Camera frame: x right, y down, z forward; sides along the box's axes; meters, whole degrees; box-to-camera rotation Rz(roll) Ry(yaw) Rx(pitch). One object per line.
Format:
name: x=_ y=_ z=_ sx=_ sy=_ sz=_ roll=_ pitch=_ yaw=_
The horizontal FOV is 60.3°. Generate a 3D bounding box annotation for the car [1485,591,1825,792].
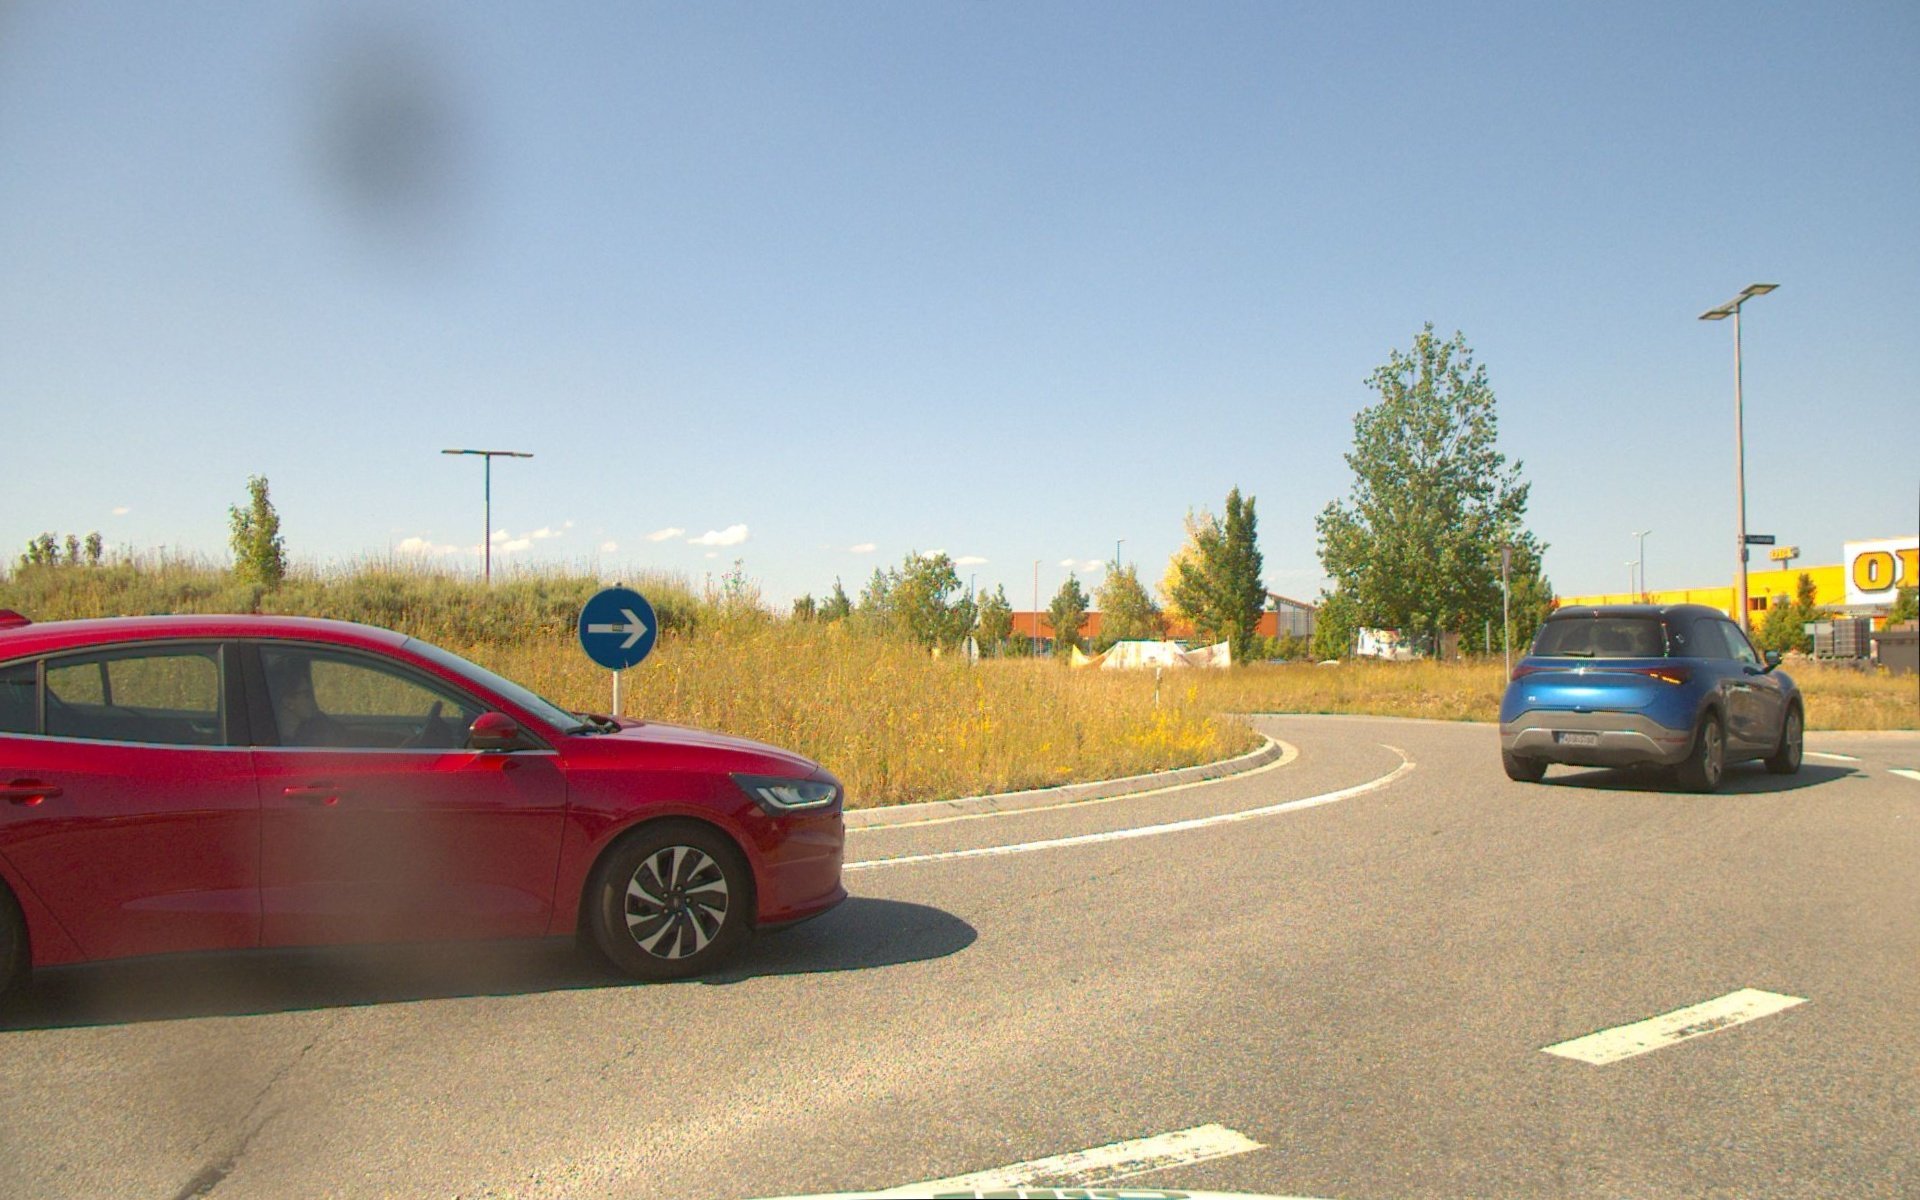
car: x=6.751 y=0.793 z=15.849 sx=1.823 sy=1.664 sz=4.056 roll=-1 pitch=-1 yaw=41

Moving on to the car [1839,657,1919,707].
car: x=32.744 y=2.781 z=56.277 sx=2.046 sy=1.655 sz=4.657 roll=1 pitch=-4 yaw=-26

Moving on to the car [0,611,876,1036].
car: x=-2.540 y=0.798 z=7.008 sx=4.041 sy=1.441 sz=1.799 roll=-1 pitch=-1 yaw=-19
